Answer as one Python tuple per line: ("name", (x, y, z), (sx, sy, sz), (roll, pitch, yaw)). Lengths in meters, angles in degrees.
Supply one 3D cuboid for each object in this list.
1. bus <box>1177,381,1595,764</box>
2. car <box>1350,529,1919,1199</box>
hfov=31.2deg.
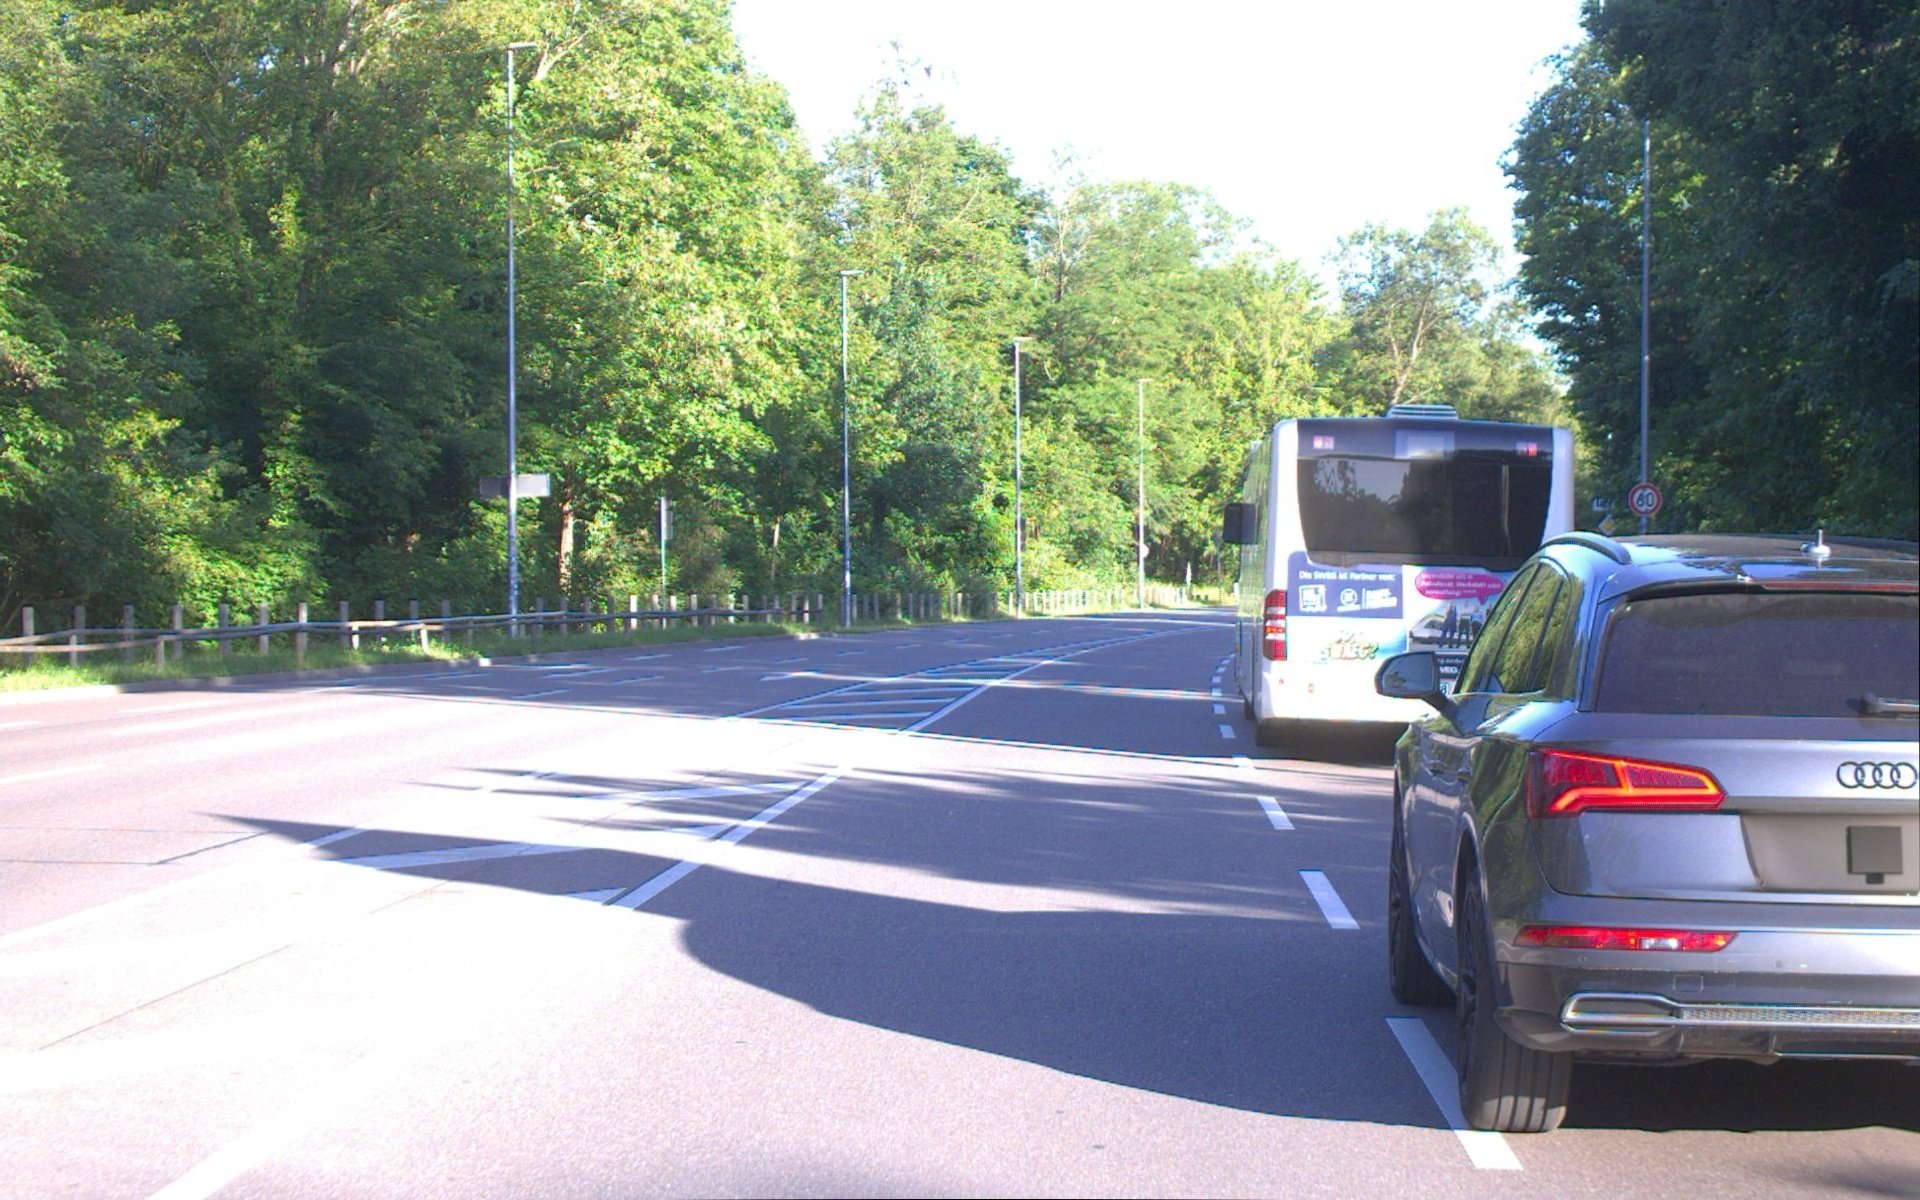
("bus", (3.827, -0.272, 33.864), (2.689, 3.032, 12.041), (1, 0, 1))
("car", (2.344, 0.626, 10.611), (1.893, 1.600, 4.544), (2, 1, 2))
